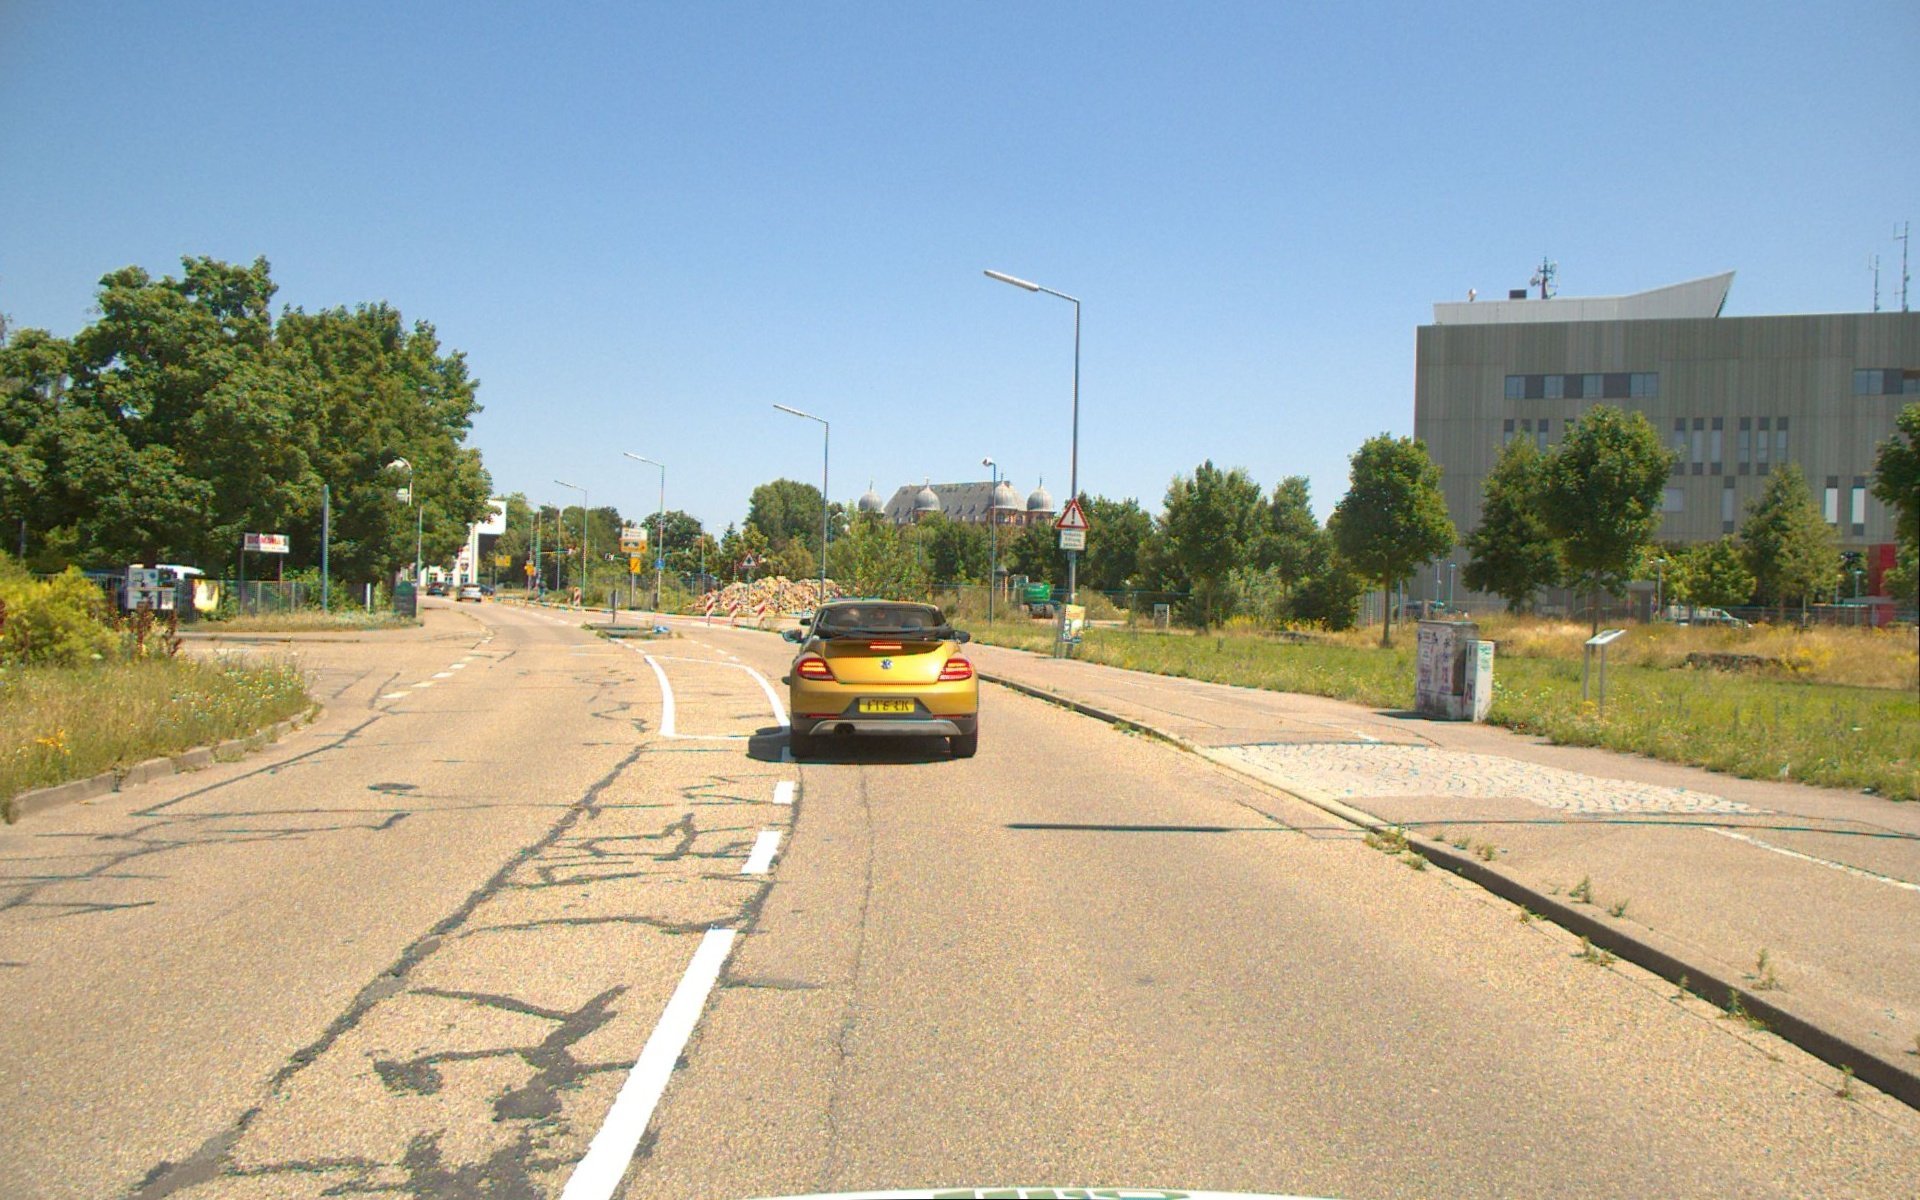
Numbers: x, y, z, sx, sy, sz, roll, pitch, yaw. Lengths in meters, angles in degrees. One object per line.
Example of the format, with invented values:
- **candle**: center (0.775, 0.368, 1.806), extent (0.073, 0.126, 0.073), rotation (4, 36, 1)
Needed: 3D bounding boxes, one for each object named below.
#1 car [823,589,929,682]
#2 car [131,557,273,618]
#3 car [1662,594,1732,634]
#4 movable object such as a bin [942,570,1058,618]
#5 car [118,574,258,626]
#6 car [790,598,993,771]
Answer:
- **car**: center (-1.454, 0.577, 28.702), extent (1.692, 1.468, 3.998), rotation (1, 0, -3)
- **car**: center (-26.744, -0.421, 58.489), extent (4.232, 2.011, 1.776), rotation (1, 0, -14)
- **car**: center (44.932, 0.832, 100.946), extent (3.763, 2.334, 1.742), rotation (1, 0, 21)
- **movable object such as a bin**: center (2.879, -0.456, 123.762), extent (4.872, 3.317, 10.395), rotation (1, 0, -23)
- **car**: center (-24.541, 0.004, 52.709), extent (3.803, 1.552, 1.800), rotation (1, 0, -19)
- **car**: center (-0.705, 0.746, 16.488), extent (1.754, 1.462, 3.811), rotation (1, 0, -3)
